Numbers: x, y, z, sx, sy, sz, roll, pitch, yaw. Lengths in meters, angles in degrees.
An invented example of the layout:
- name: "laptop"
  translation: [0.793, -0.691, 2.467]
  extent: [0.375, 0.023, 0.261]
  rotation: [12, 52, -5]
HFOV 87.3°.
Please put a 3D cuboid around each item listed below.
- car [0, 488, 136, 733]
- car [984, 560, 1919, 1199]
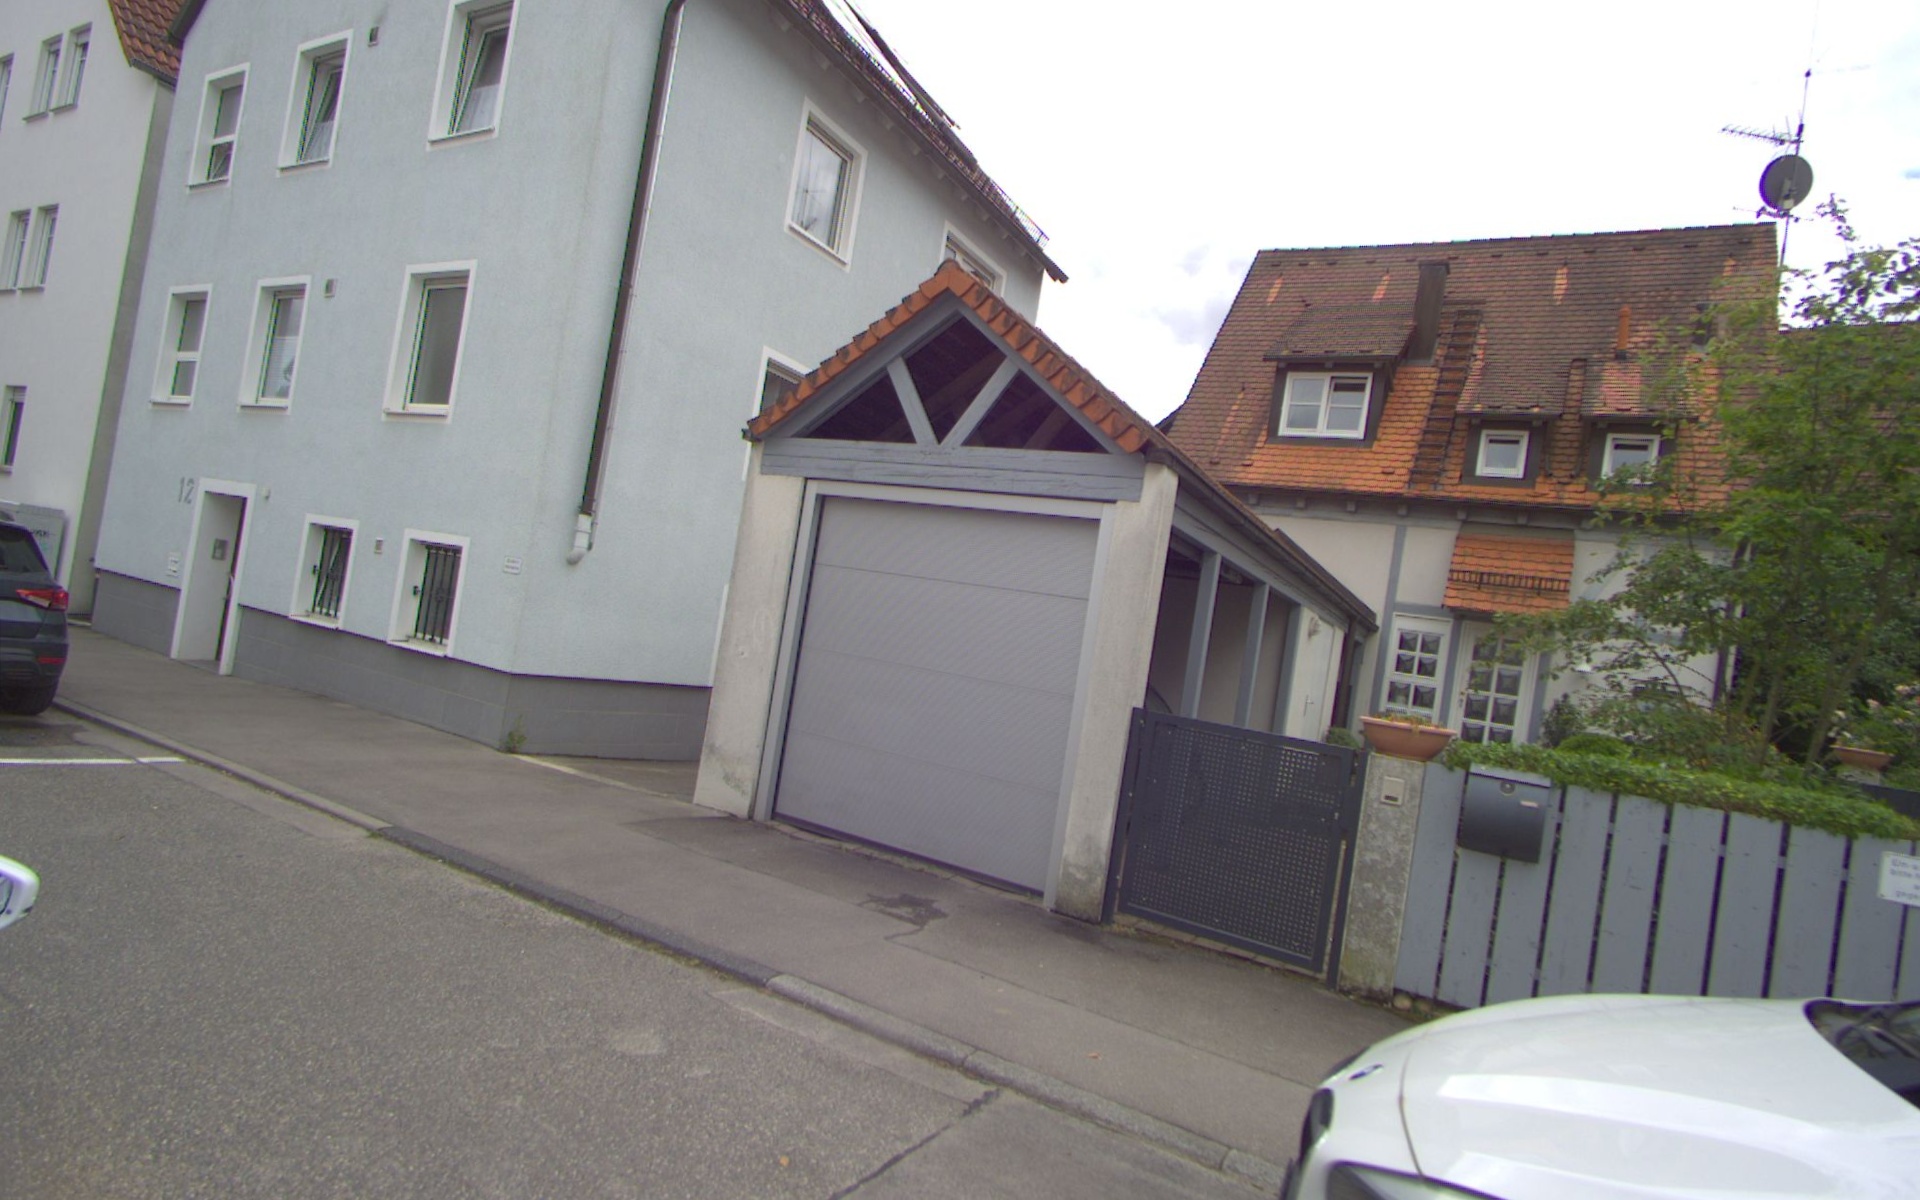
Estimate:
- name: "car"
  translation: [-8.536, -0.190, 7.752]
  extent: [4.458, 1.645, 1.759]
  rotation: [7, -4, 30]
- name: "car"
  translation: [2.602, 1.124, 1.267]
  extent: [4.798, 1.632, 1.999]
  rotation: [7, -4, 32]
